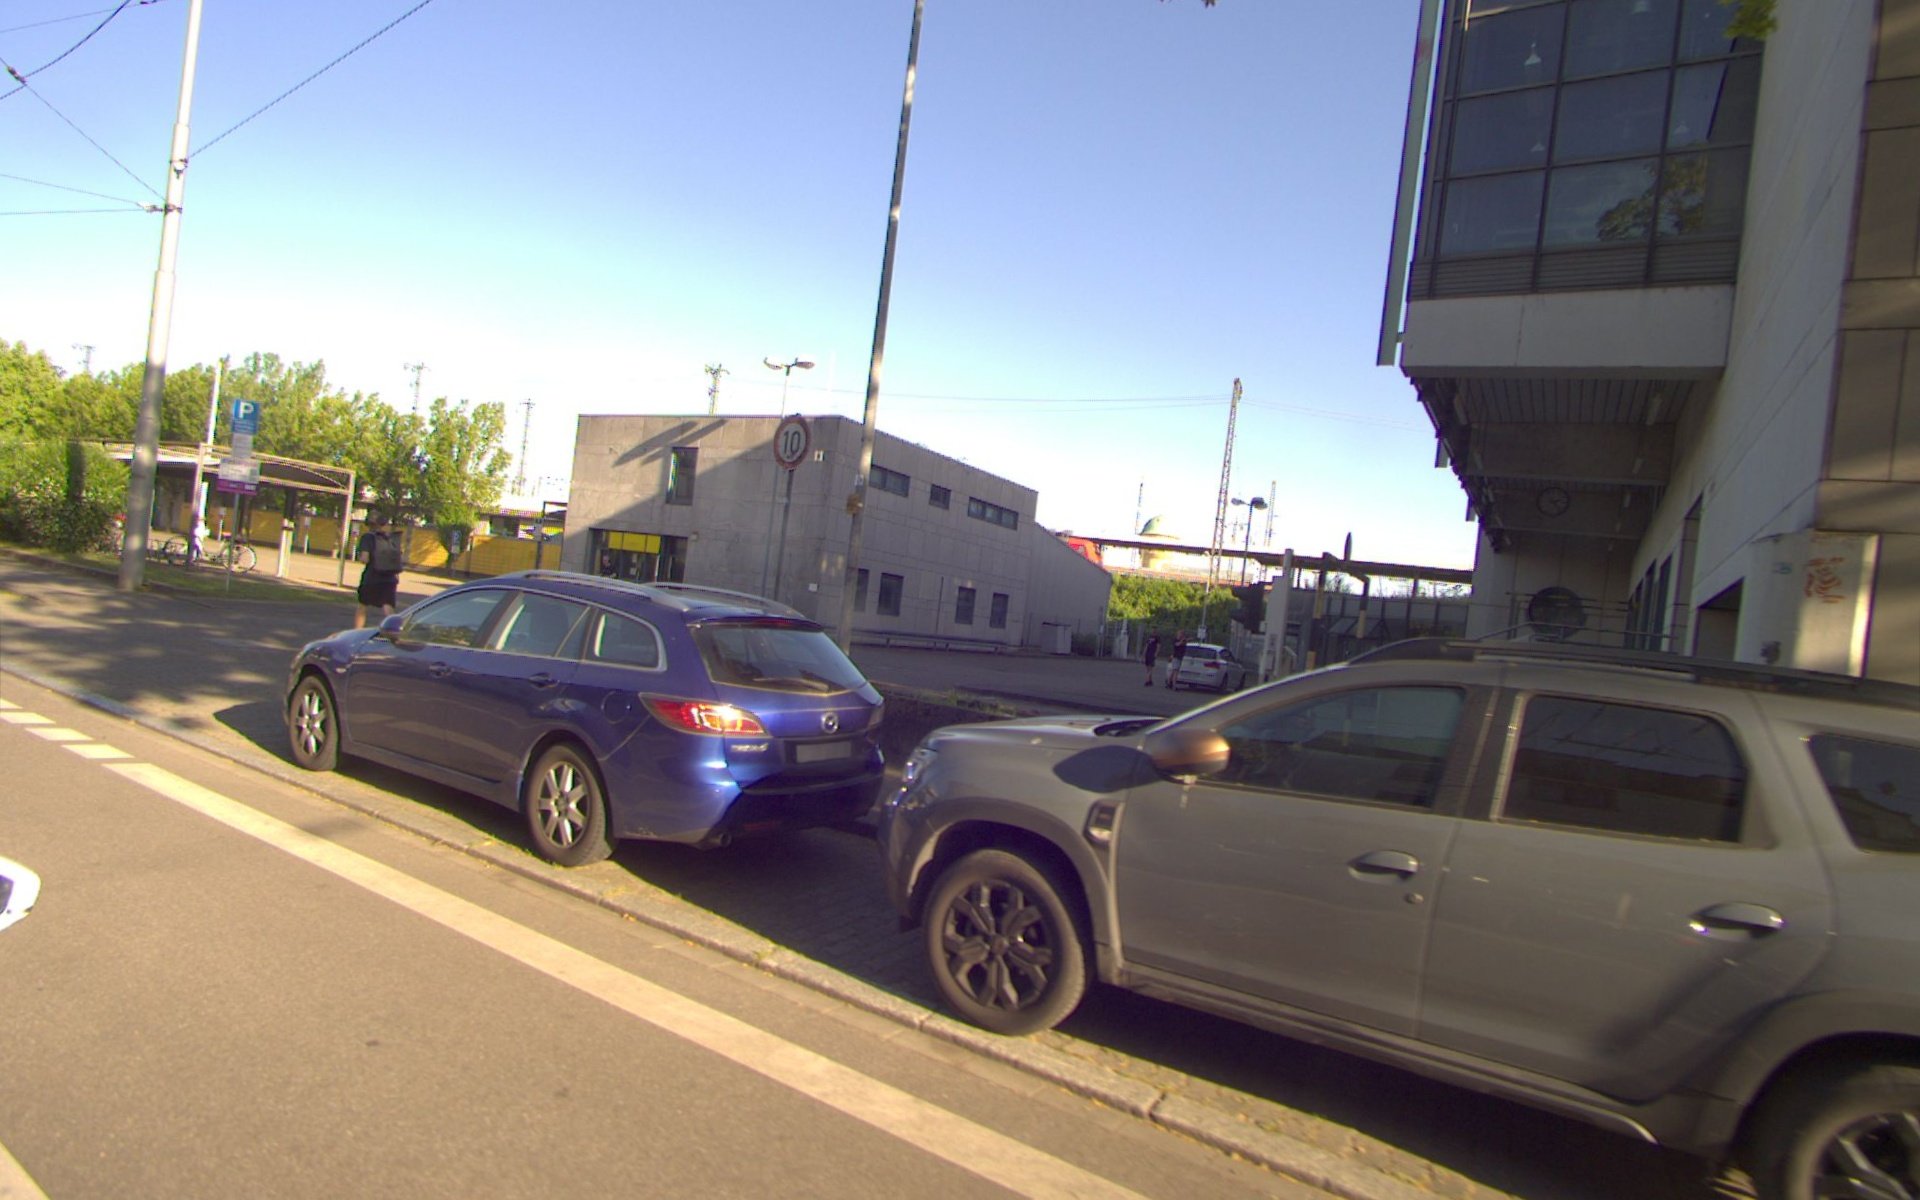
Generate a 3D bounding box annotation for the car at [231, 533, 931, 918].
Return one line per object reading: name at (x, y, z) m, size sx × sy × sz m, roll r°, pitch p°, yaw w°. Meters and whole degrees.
car at (-2.627, 0.557, 6.517) m, size 4.581 × 1.499 × 1.704 m, roll 6°, pitch -1°, yaw 32°

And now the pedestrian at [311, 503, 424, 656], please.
pedestrian at (-7.620, -0.275, 12.927) m, size 1.282 × 1.814 × 0.670 m, roll 7°, pitch 4°, yaw 32°

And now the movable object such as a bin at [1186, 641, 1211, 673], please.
movable object such as a bin at (10.815, 2.577, 45.602) m, size 0.767 × 1.294 × 0.903 m, roll 7°, pitch -1°, yaw 32°

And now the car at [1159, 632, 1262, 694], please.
car at (7.764, 1.971, 30.918) m, size 1.870 × 1.490 × 4.083 m, roll 6°, pitch -2°, yaw 31°

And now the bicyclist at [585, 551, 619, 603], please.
bicyclist at (-10.476, -0.669, 29.425) m, size 0.719 × 1.400 × 0.580 m, roll 7°, pitch -1°, yaw -15°

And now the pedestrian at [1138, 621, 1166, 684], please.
pedestrian at (5.800, 1.588, 30.369) m, size 0.503 × 1.801 × 0.481 m, roll 7°, pitch -1°, yaw 34°

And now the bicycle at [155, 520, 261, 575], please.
bicycle at (-17.955, -1.244, 24.054) m, size 0.569 × 1.019 × 1.893 m, roll 6°, pitch -2°, yaw 44°

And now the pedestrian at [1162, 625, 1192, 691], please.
pedestrian at (6.211, 1.652, 28.757) m, size 0.503 × 1.801 × 0.481 m, roll 7°, pitch -1°, yaw 34°

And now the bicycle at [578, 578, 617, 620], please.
bicycle at (-10.532, -0.031, 29.290) m, size 0.742 × 1.083 × 2.005 m, roll 7°, pitch -2°, yaw -13°

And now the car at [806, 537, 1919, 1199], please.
car at (1.707, 0.882, 3.843) m, size 4.205 × 1.732 × 1.745 m, roll 6°, pitch -1°, yaw 29°
